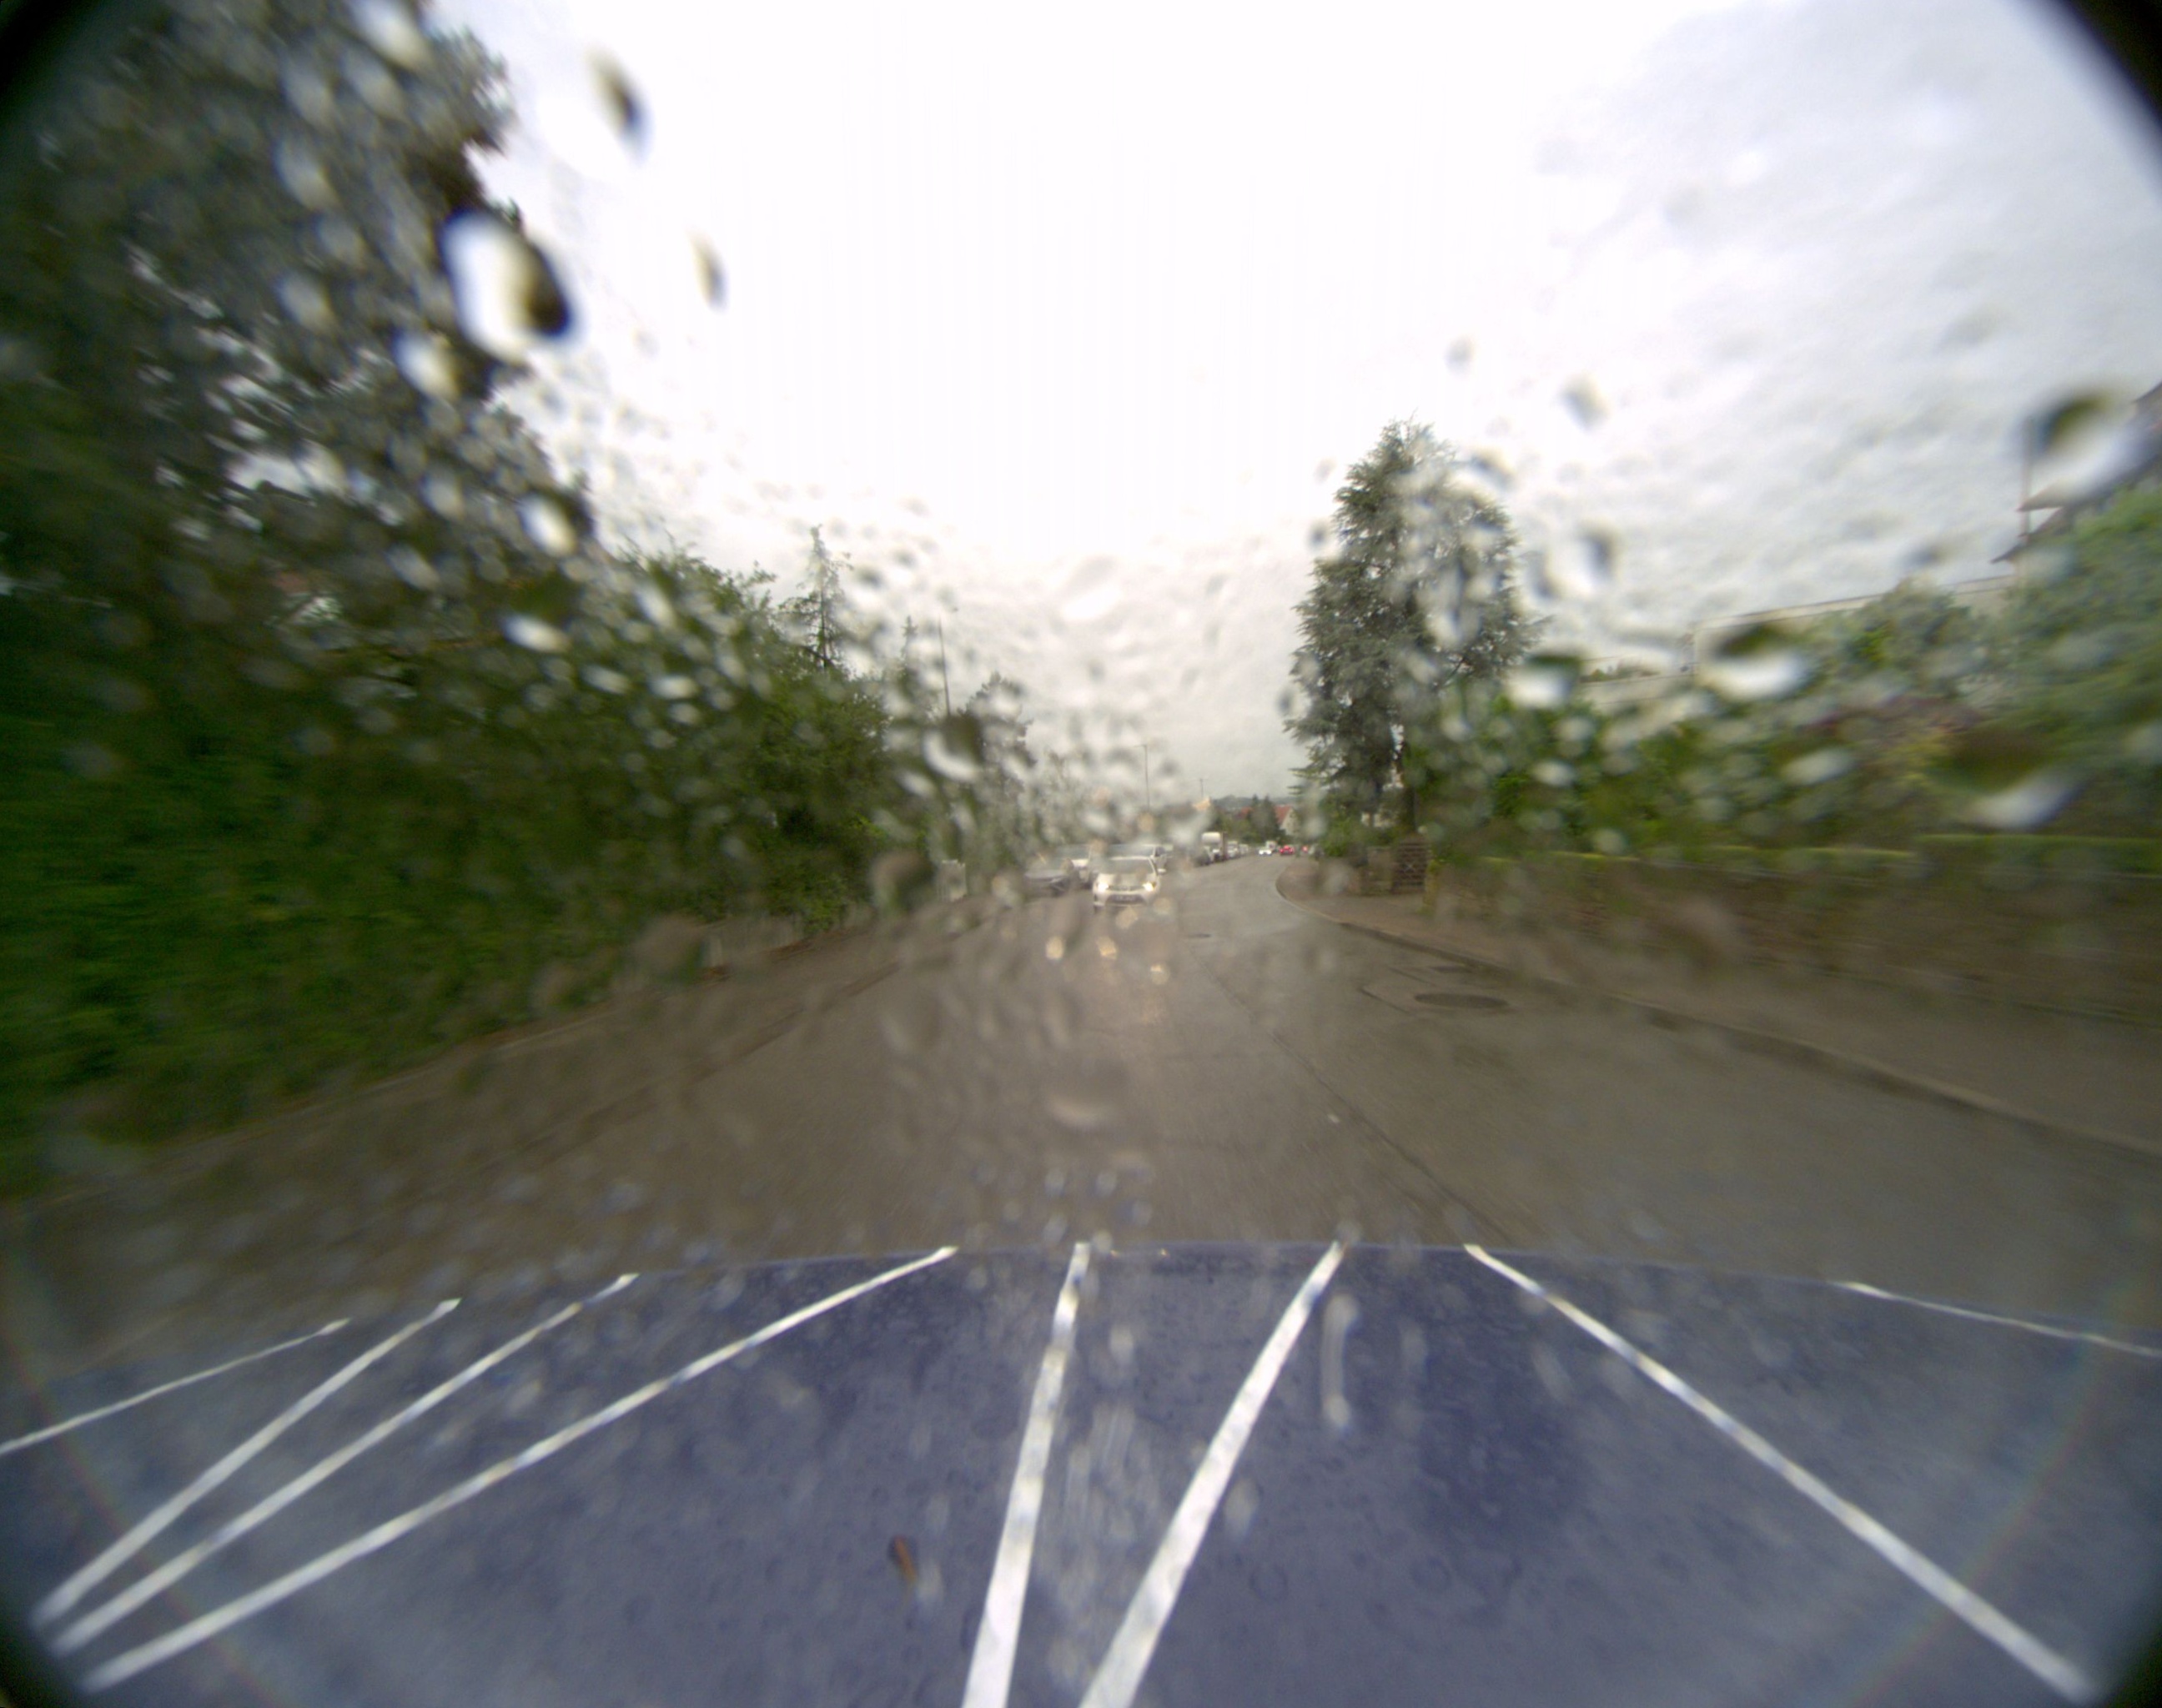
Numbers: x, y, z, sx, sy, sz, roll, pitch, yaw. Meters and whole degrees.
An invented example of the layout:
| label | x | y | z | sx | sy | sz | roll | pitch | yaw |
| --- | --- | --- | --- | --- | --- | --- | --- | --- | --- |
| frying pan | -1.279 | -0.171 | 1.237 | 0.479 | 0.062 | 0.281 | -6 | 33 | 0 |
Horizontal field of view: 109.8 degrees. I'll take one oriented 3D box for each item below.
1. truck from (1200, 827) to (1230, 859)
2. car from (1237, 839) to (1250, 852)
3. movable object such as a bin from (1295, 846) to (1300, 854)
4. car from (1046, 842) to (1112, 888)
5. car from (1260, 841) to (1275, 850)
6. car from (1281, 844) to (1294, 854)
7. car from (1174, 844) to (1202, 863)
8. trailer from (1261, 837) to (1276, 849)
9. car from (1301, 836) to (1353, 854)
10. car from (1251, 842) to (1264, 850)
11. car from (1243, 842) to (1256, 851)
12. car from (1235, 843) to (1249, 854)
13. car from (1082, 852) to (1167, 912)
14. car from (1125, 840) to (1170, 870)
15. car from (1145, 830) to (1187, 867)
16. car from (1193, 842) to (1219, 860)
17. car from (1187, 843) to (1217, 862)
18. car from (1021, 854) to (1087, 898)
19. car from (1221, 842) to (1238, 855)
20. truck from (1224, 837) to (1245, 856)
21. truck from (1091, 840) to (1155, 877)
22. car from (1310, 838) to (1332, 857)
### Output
| label | x | y | z | sx | sy | sz | roll | pitch | yaw |
| --- | --- | --- | --- | --- | --- | --- | --- | --- | --- |
| truck | 14.992 | -1.266 | 84.687 | 2.439 | 3.316 | 7.973 | 0 | 1 | 16 |
| car | 26.537 | -1.400 | 123.712 | 1.851 | 1.871 | 4.915 | 0 | 1 | 14 |
| movable object such as a bin | 27.867 | -0.488 | 97.822 | 0.603 | 1.057 | 0.699 | -3 | 1 | 12 |
| car | 0.018 | 0.433 | 35.081 | 1.863 | 1.910 | 5.083 | -2 | 0 | 13 |
| car | 30.780 | -1.423 | 125.361 | 1.818 | 1.498 | 4.730 | 0 | 1 | 19 |
| car | 32.229 | -0.849 | 118.495 | 1.776 | 1.429 | 4.366 | 2 | 2 | 16 |
| car | 8.764 | -0.046 | 62.143 | 1.591 | 1.421 | 3.802 | 0 | 1 | 18 |
| trailer | 39.636 | -2.297 | 160.560 | 1.950 | 2.443 | 5.443 | 0 | 2 | 26 |
| car | 27.270 | -0.945 | 84.170 | 5.087 | 1.933 | 2.145 | 0 | 2 | 33 |
| car | 34.929 | -1.552 | 150.442 | 1.794 | 1.451 | 4.795 | 0 | 1 | 22 |
| car | 29.853 | -1.268 | 134.779 | 1.818 | 1.498 | 4.729 | 0 | 1 | 17 |
| car | 24.794 | -0.837 | 117.127 | 1.650 | 1.554 | 3.967 | 0 | 1 | 18 |
| car | 1.306 | 0.704 | 21.038 | 1.862 | 1.369 | 4.183 | -3 | 0 | 9 |
| car | 4.409 | 0.039 | 49.429 | 1.829 | 1.832 | 5.275 | 0 | 1 | 17 |
| car | 6.310 | -0.430 | 55.794 | 2.034 | 2.491 | 5.962 | 0 | 1 | 16 |
| car | 12.754 | -0.320 | 77.162 | 1.848 | 1.674 | 5.644 | 0 | 1 | 16 |
| car | 10.940 | -0.163 | 68.622 | 1.938 | 1.662 | 4.700 | 0 | 1 | 18 |
| car | -0.939 | 0.777 | 28.831 | 1.688 | 1.448 | 4.060 | -2 | 0 | 9 |
| car | 19.336 | -0.676 | 98.622 | 1.761 | 1.595 | 4.671 | 0 | 1 | 16 |
| truck | 21.535 | -1.101 | 106.427 | 2.241 | 2.617 | 6.545 | 0 | 1 | 18 |
| truck | 2.513 | 0.193 | 43.427 | 2.117 | 1.841 | 6.625 | -3 | 0 | 16 |
| car | 23.535 | -0.645 | 74.444 | 1.691 | 1.578 | 4.202 | -8 | -2 | 20 |
